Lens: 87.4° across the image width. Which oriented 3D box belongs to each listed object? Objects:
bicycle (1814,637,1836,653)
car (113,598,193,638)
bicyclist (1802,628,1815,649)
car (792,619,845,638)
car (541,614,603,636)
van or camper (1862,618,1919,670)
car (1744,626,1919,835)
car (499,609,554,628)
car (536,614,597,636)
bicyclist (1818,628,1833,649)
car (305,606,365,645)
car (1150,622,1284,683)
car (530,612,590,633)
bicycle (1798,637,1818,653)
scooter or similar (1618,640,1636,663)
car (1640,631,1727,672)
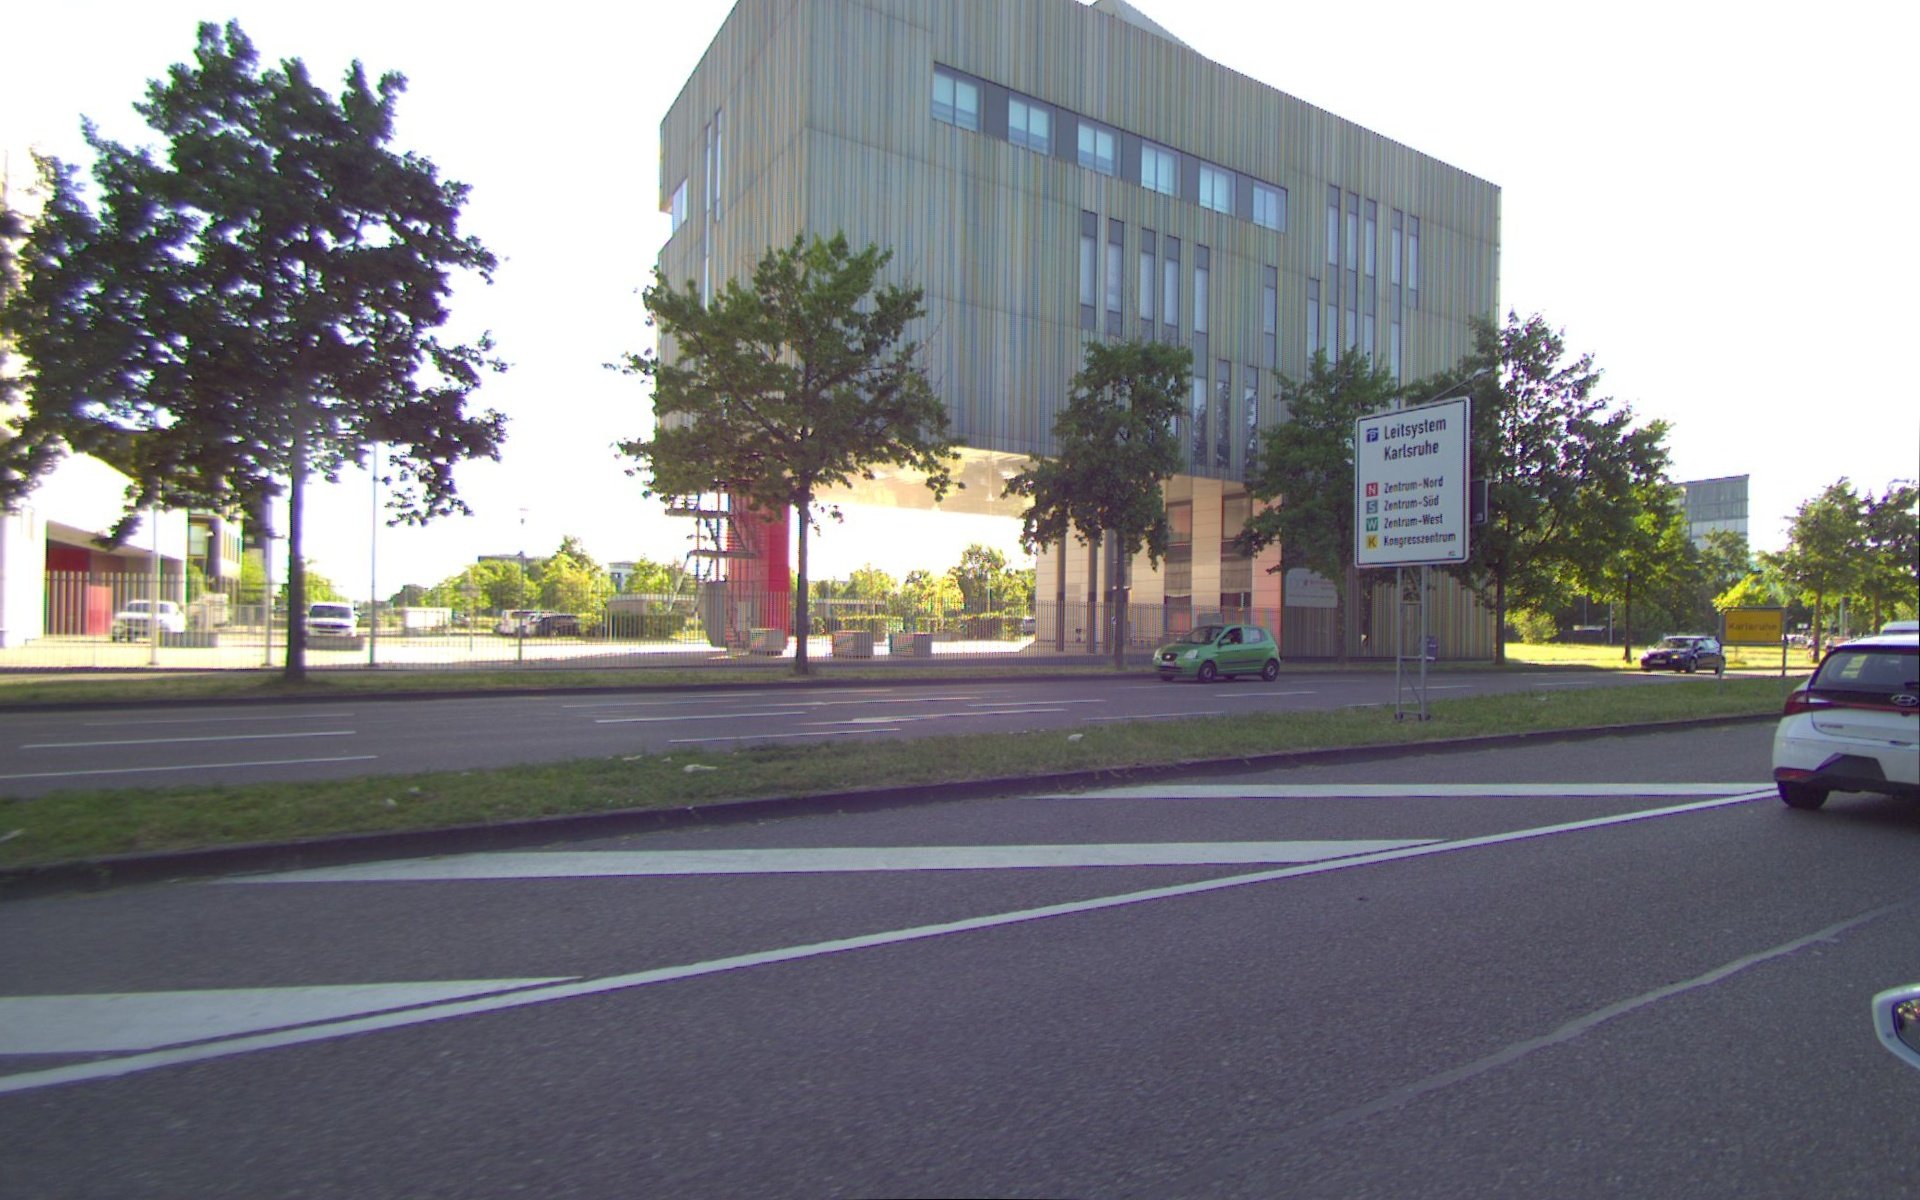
[{"bbox_3d":[57.816,3.011,67.155,2.074,1.016,0.567,2,-1,-33],"label":"bicycle"},{"bbox_3d":[-31.467,0.686,39.291,1.741,1.472,4.237,1,-1,-29],"label":"car"},{"bbox_3d":[57.578,2.622,68.168,0.835,1.413,0.479,2,-1,-33],"label":"bicyclist"},{"bbox_3d":[-9.882,1.982,70.085,3.404,1.233,1.423,2,-1,-31],"label":"car"},{"bbox_3d":[-23.673,1.550,61.316,3.347,1.275,1.354,2,-1,-33],"label":"car"},{"bbox_3d":[46.256,2.108,48.856,5.927,2.400,1.983,1,-2,-33],"label":"van or camper"},{"bbox_3d":[8.356,0.966,8.202,4.028,1.427,1.769,1,0,-31],"label":"car"},{"bbox_3d":[-30.485,1.281,70.635,3.347,1.275,1.354,2,-1,-33],"label":"car"},{"bbox_3d":[-24.506,1.569,62.577,3.347,1.275,1.354,2,-1,-33],"label":"car"},{"bbox_3d":[57.897,2.588,67.205,0.739,1.410,0.559,2,-1,-33],"label":"bicyclist"},{"bbox_3d":[-26.257,1.045,42.298,1.912,1.523,4.368,1,-1,-29],"label":"car"},{"bbox_3d":[6.657,1.324,25.943,3.423,1.455,1.437,1,-1,-33],"label":"car"},{"bbox_3d":[-25.510,1.452,64.081,3.347,1.275,1.354,2,-1,-33],"label":"car"},{"bbox_3d":[57.531,3.046,68.133,2.074,1.016,0.484,2,-1,-33],"label":"bicycle"},{"bbox_3d":[34.804,2.704,52.408,1.313,1.164,0.230,2,-1,-32],"label":"scooter or similar"},{"bbox_3d":[29.127,2.058,40.429,3.984,1.528,1.541,1,-1,-33],"label":"car"}]
